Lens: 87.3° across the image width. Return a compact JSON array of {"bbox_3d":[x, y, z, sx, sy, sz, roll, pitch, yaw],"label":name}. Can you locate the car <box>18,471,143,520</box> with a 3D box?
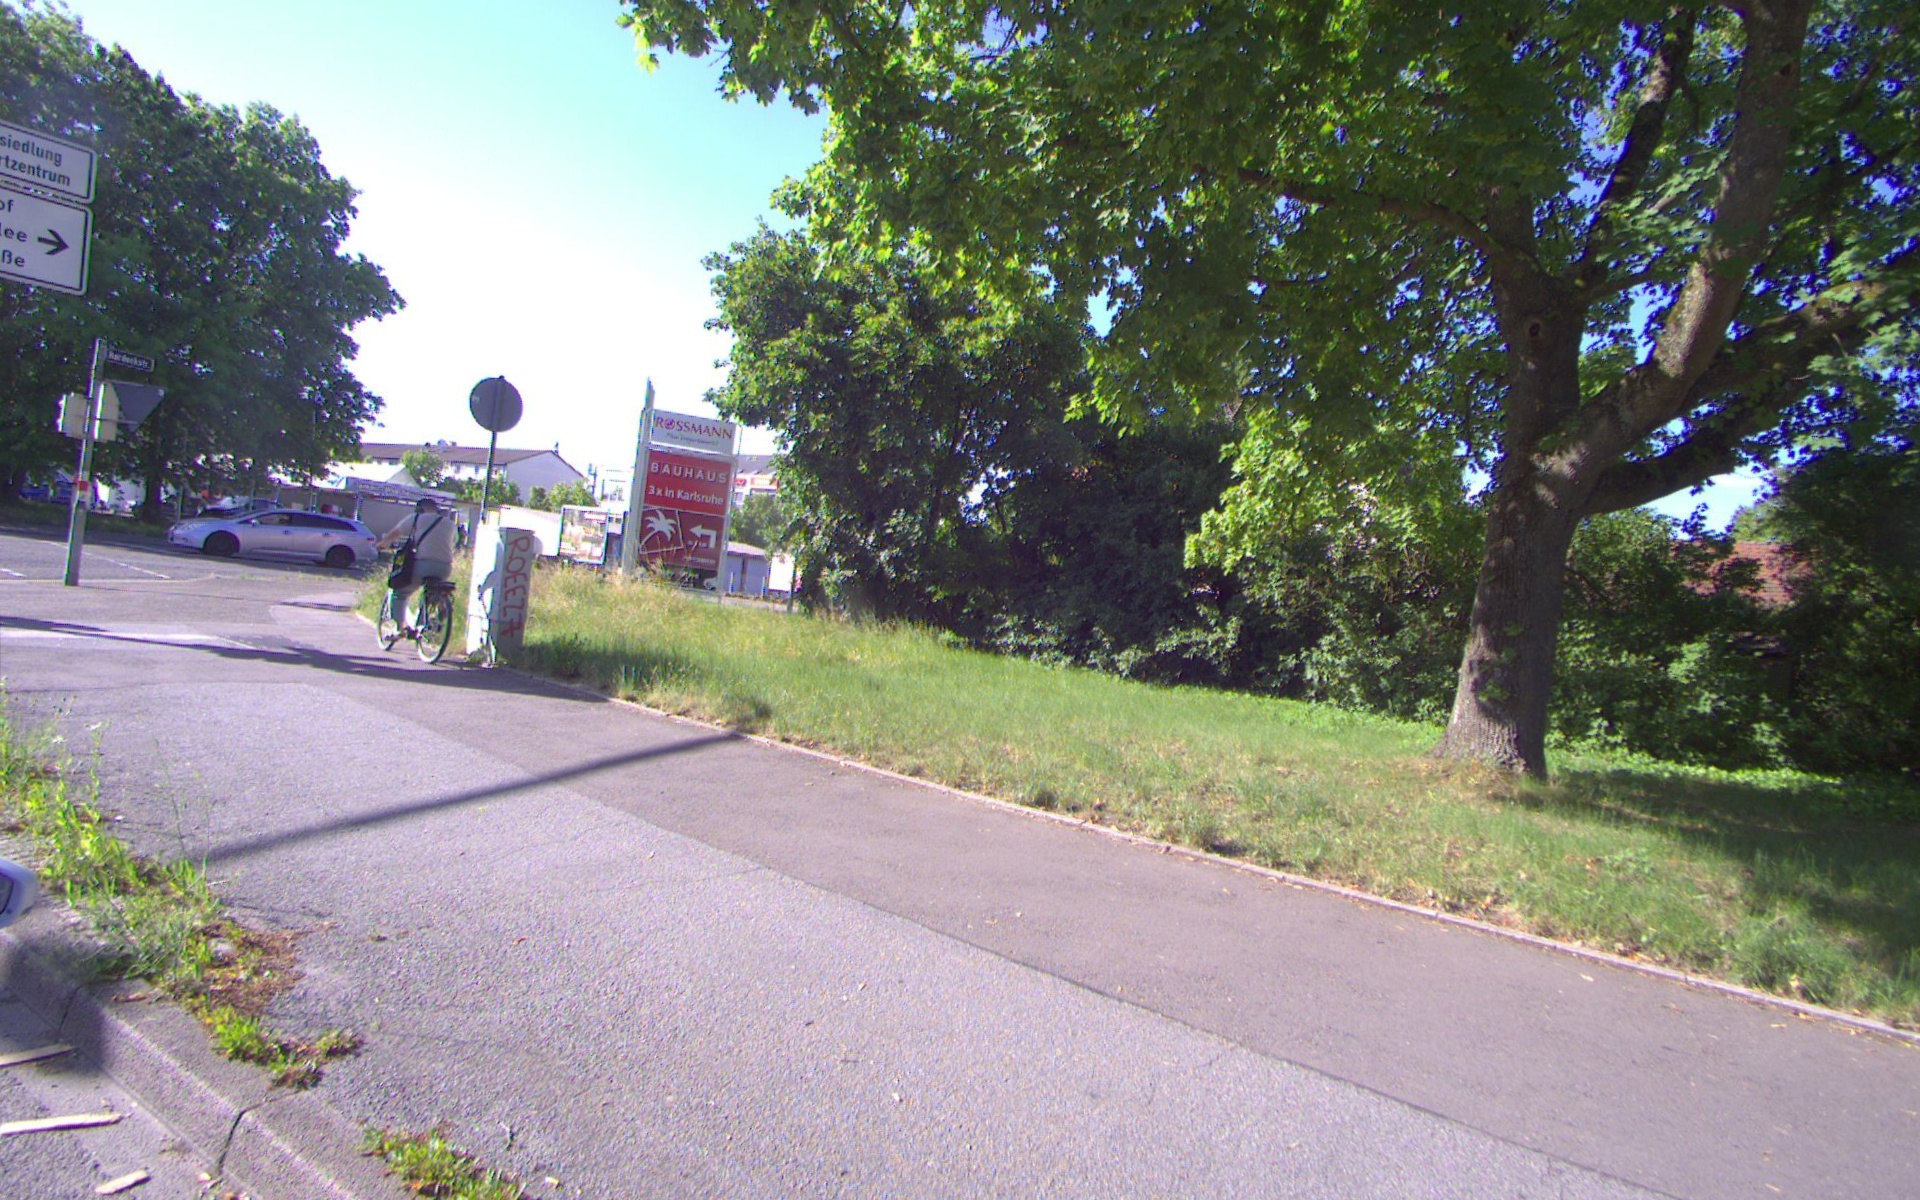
[{"bbox_3d":[-39.180,-4.627,44.929,1.712,1.537,3.902,7,0,9],"label":"car"}]

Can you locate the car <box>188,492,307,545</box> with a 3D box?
[{"bbox_3d":[-30.296,-3.426,42.914,1.712,1.701,4.001,7,0,9],"label":"car"}]

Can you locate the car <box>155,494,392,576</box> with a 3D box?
[{"bbox_3d":[-18.649,-1.731,27.523,1.973,1.504,4.994,7,0,43],"label":"car"}]

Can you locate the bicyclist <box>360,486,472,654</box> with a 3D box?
[{"bbox_3d":[-5.575,-0.310,10.290,0.982,1.602,0.577,8,4,38],"label":"bicyclist"}]

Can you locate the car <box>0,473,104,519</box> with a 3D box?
[{"bbox_3d":[-41.990,-4.768,46.153,1.712,1.537,3.902,7,0,9],"label":"car"}]

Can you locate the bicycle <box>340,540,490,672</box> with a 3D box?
[{"bbox_3d":[-5.618,0.035,10.311,1.958,1.112,0.578,8,3,39],"label":"bicycle"}]

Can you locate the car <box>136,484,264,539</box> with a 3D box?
[{"bbox_3d":[-32.347,-3.741,42.965,1.962,1.772,4.000,7,1,9],"label":"car"}]
